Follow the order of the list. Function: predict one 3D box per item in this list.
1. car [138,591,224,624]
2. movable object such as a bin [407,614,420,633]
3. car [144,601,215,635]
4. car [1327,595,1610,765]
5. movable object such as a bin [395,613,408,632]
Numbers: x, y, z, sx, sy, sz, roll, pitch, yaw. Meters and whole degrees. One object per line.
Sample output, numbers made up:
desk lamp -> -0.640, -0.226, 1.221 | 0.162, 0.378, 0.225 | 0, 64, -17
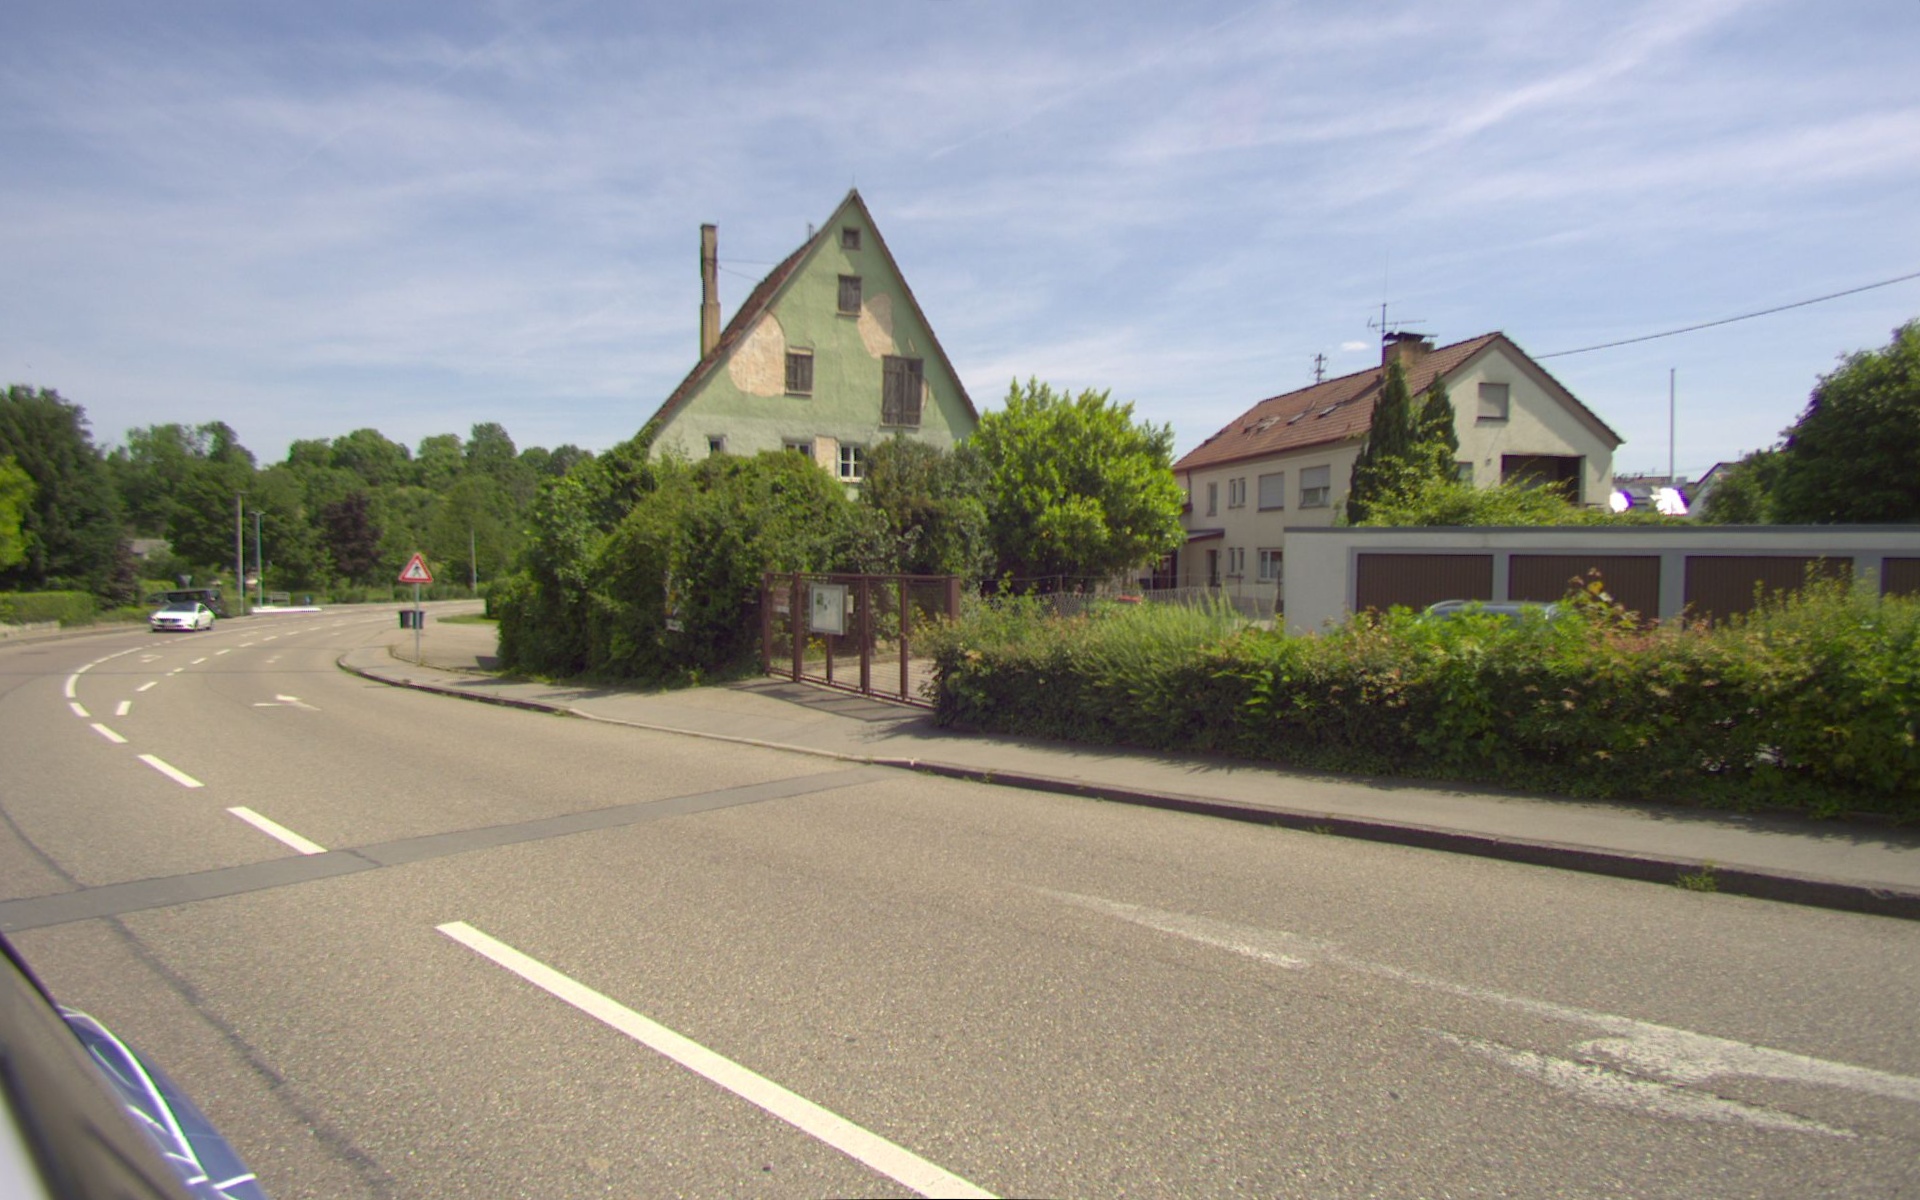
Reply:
car -> -49.017, 0.443, 63.779 | 3.844, 1.964, 1.962 | -1, 0, -17
movable object such as a bin -> -31.675, 1.354, 58.611 | 0.527, 1.058, 0.542 | -1, 0, -44
car -> -39.299, 0.895, 51.059 | 1.796, 1.563, 4.013 | 3, -1, -22
car -> 5.562, 0.681, 10.803 | 1.997, 1.397, 3.950 | -1, 0, 37
movable object such as a bin -> -32.914, 1.341, 59.652 | 0.546, 1.090, 0.542 | -1, 0, -44
